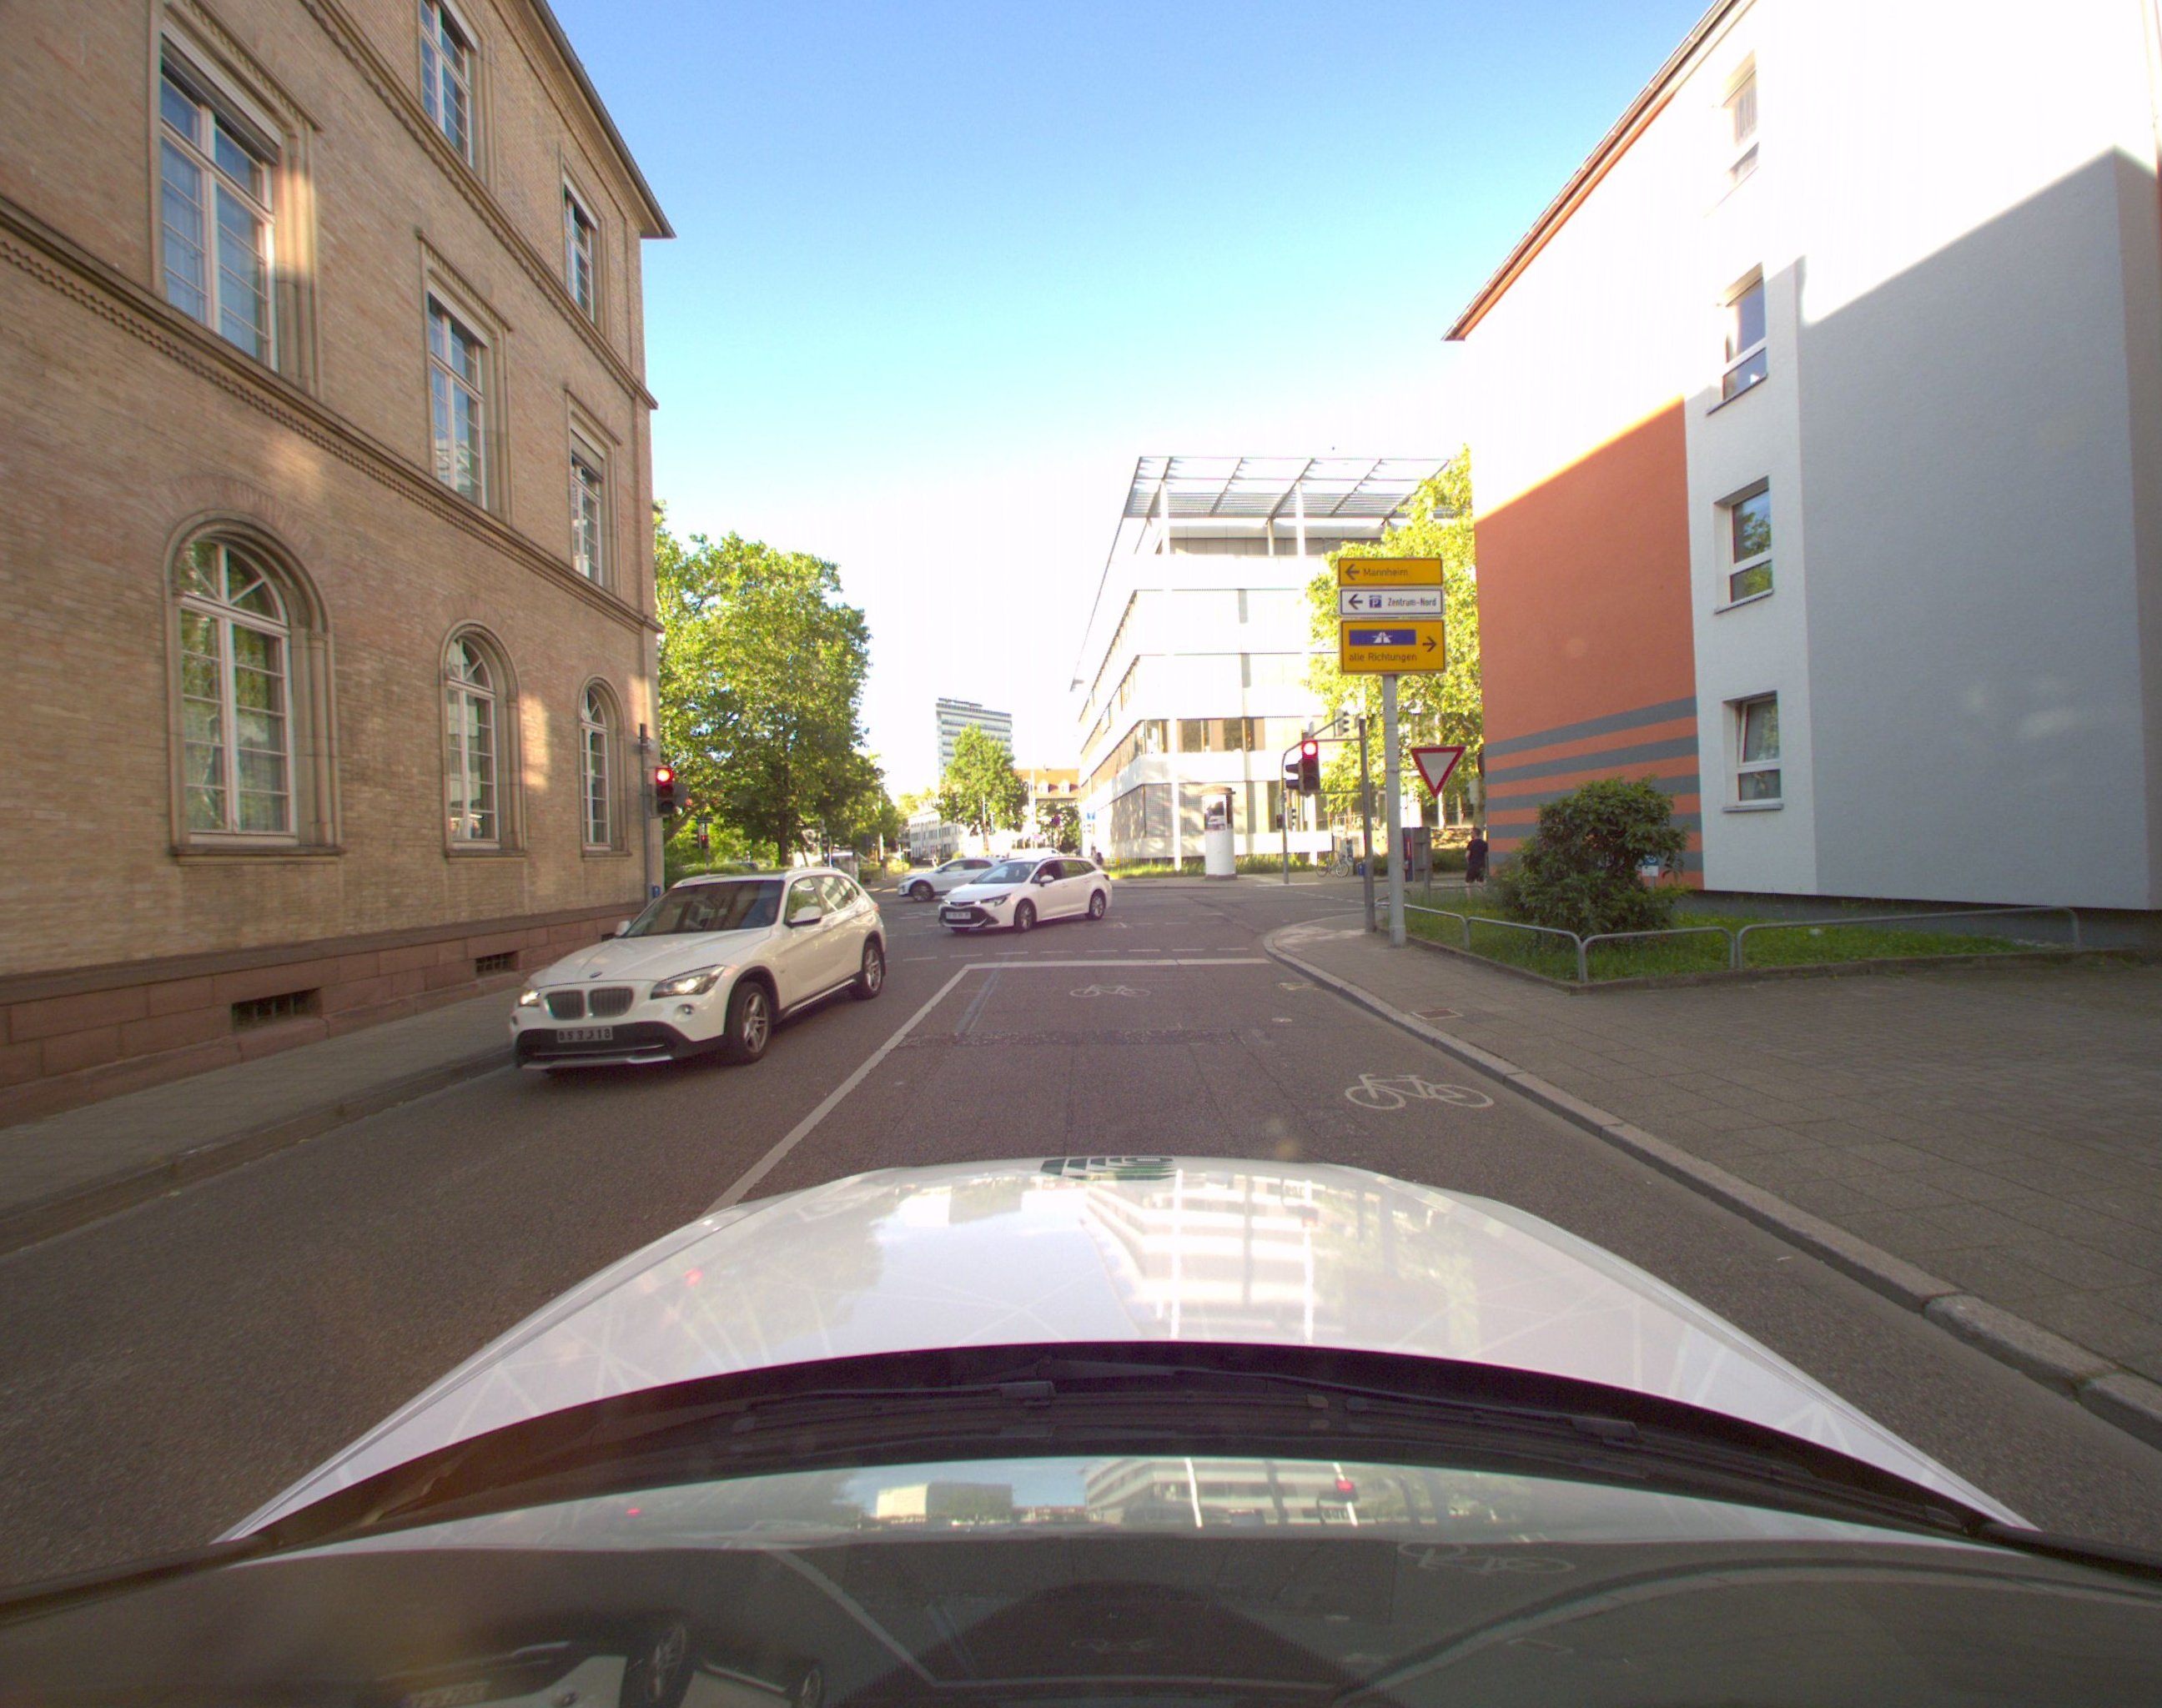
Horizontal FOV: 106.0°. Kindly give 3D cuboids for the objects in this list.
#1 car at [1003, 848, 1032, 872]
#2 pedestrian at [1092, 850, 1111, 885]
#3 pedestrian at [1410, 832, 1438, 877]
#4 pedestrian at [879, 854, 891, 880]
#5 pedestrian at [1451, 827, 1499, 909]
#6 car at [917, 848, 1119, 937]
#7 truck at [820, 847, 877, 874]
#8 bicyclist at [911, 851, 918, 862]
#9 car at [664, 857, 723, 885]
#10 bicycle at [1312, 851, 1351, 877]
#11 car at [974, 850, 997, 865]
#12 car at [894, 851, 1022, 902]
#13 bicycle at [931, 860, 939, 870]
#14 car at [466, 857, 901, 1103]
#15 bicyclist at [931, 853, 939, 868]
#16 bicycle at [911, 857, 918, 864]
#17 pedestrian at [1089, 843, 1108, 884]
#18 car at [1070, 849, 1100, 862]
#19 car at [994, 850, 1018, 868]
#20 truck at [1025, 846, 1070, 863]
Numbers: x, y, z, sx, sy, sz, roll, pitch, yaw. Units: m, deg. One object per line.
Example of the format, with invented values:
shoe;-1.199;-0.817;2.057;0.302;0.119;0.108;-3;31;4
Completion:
car;-5.116;0.449;65.150;2.084;1.795;4.403;-2;1;-8
pedestrian;0.925;0.607;37.337;0.561;1.540;0.673;-5;1;-16
pedestrian;14.337;0.028;34.039;0.832;1.840;0.708;0;0;-3
pedestrian;-13.556;0.893;56.213;0.704;1.723;0.950;-3;0;-15
pedestrian;9.010;0.309;18.636;0.704;1.840;0.837;0;0;1
car;-1.150;0.725;17.302;1.868;1.475;4.574;-2;1;32
truck;-21.609;0.583;75.842;4.825;2.399;2.082;-2;0;-8
bicyclist;-24.696;0.399;120.656;0.865;1.515;1.016;-5;0;-9
car;-37.169;1.609;78.132;4.551;2.391;2.069;-3;0;-7
bicycle;11.030;0.426;35.927;0.510;1.049;1.670;-4;3;-33
car;-11.276;0.431;95.977;1.893;1.655;4.390;-2;1;-16
car;-4.289;0.776;28.884;4.314;1.575;1.821;-2;0;-6
bicycle;-14.705;1.145;82.124;0.615;0.969;1.837;-3;0;-7
car;-3.308;0.910;7.899;1.677;1.582;4.282;-4;0;6
bicyclist;-14.726;0.639;82.137;0.615;1.532;0.901;-3;0;-7
bicycle;-24.652;1.007;120.639;0.865;1.009;2.407;-5;0;-9
pedestrian;0.833;0.449;37.946;0.555;1.850;0.680;-5;1;18
car;0.506;0.185;104.445;3.563;1.546;1.549;-2;0;-17
car;-7.268;0.481;78.682;1.889;1.555;4.398;-2;1;-11
truck;-4.245;0.080;103.374;5.351;2.013;1.988;-2;0;-17
